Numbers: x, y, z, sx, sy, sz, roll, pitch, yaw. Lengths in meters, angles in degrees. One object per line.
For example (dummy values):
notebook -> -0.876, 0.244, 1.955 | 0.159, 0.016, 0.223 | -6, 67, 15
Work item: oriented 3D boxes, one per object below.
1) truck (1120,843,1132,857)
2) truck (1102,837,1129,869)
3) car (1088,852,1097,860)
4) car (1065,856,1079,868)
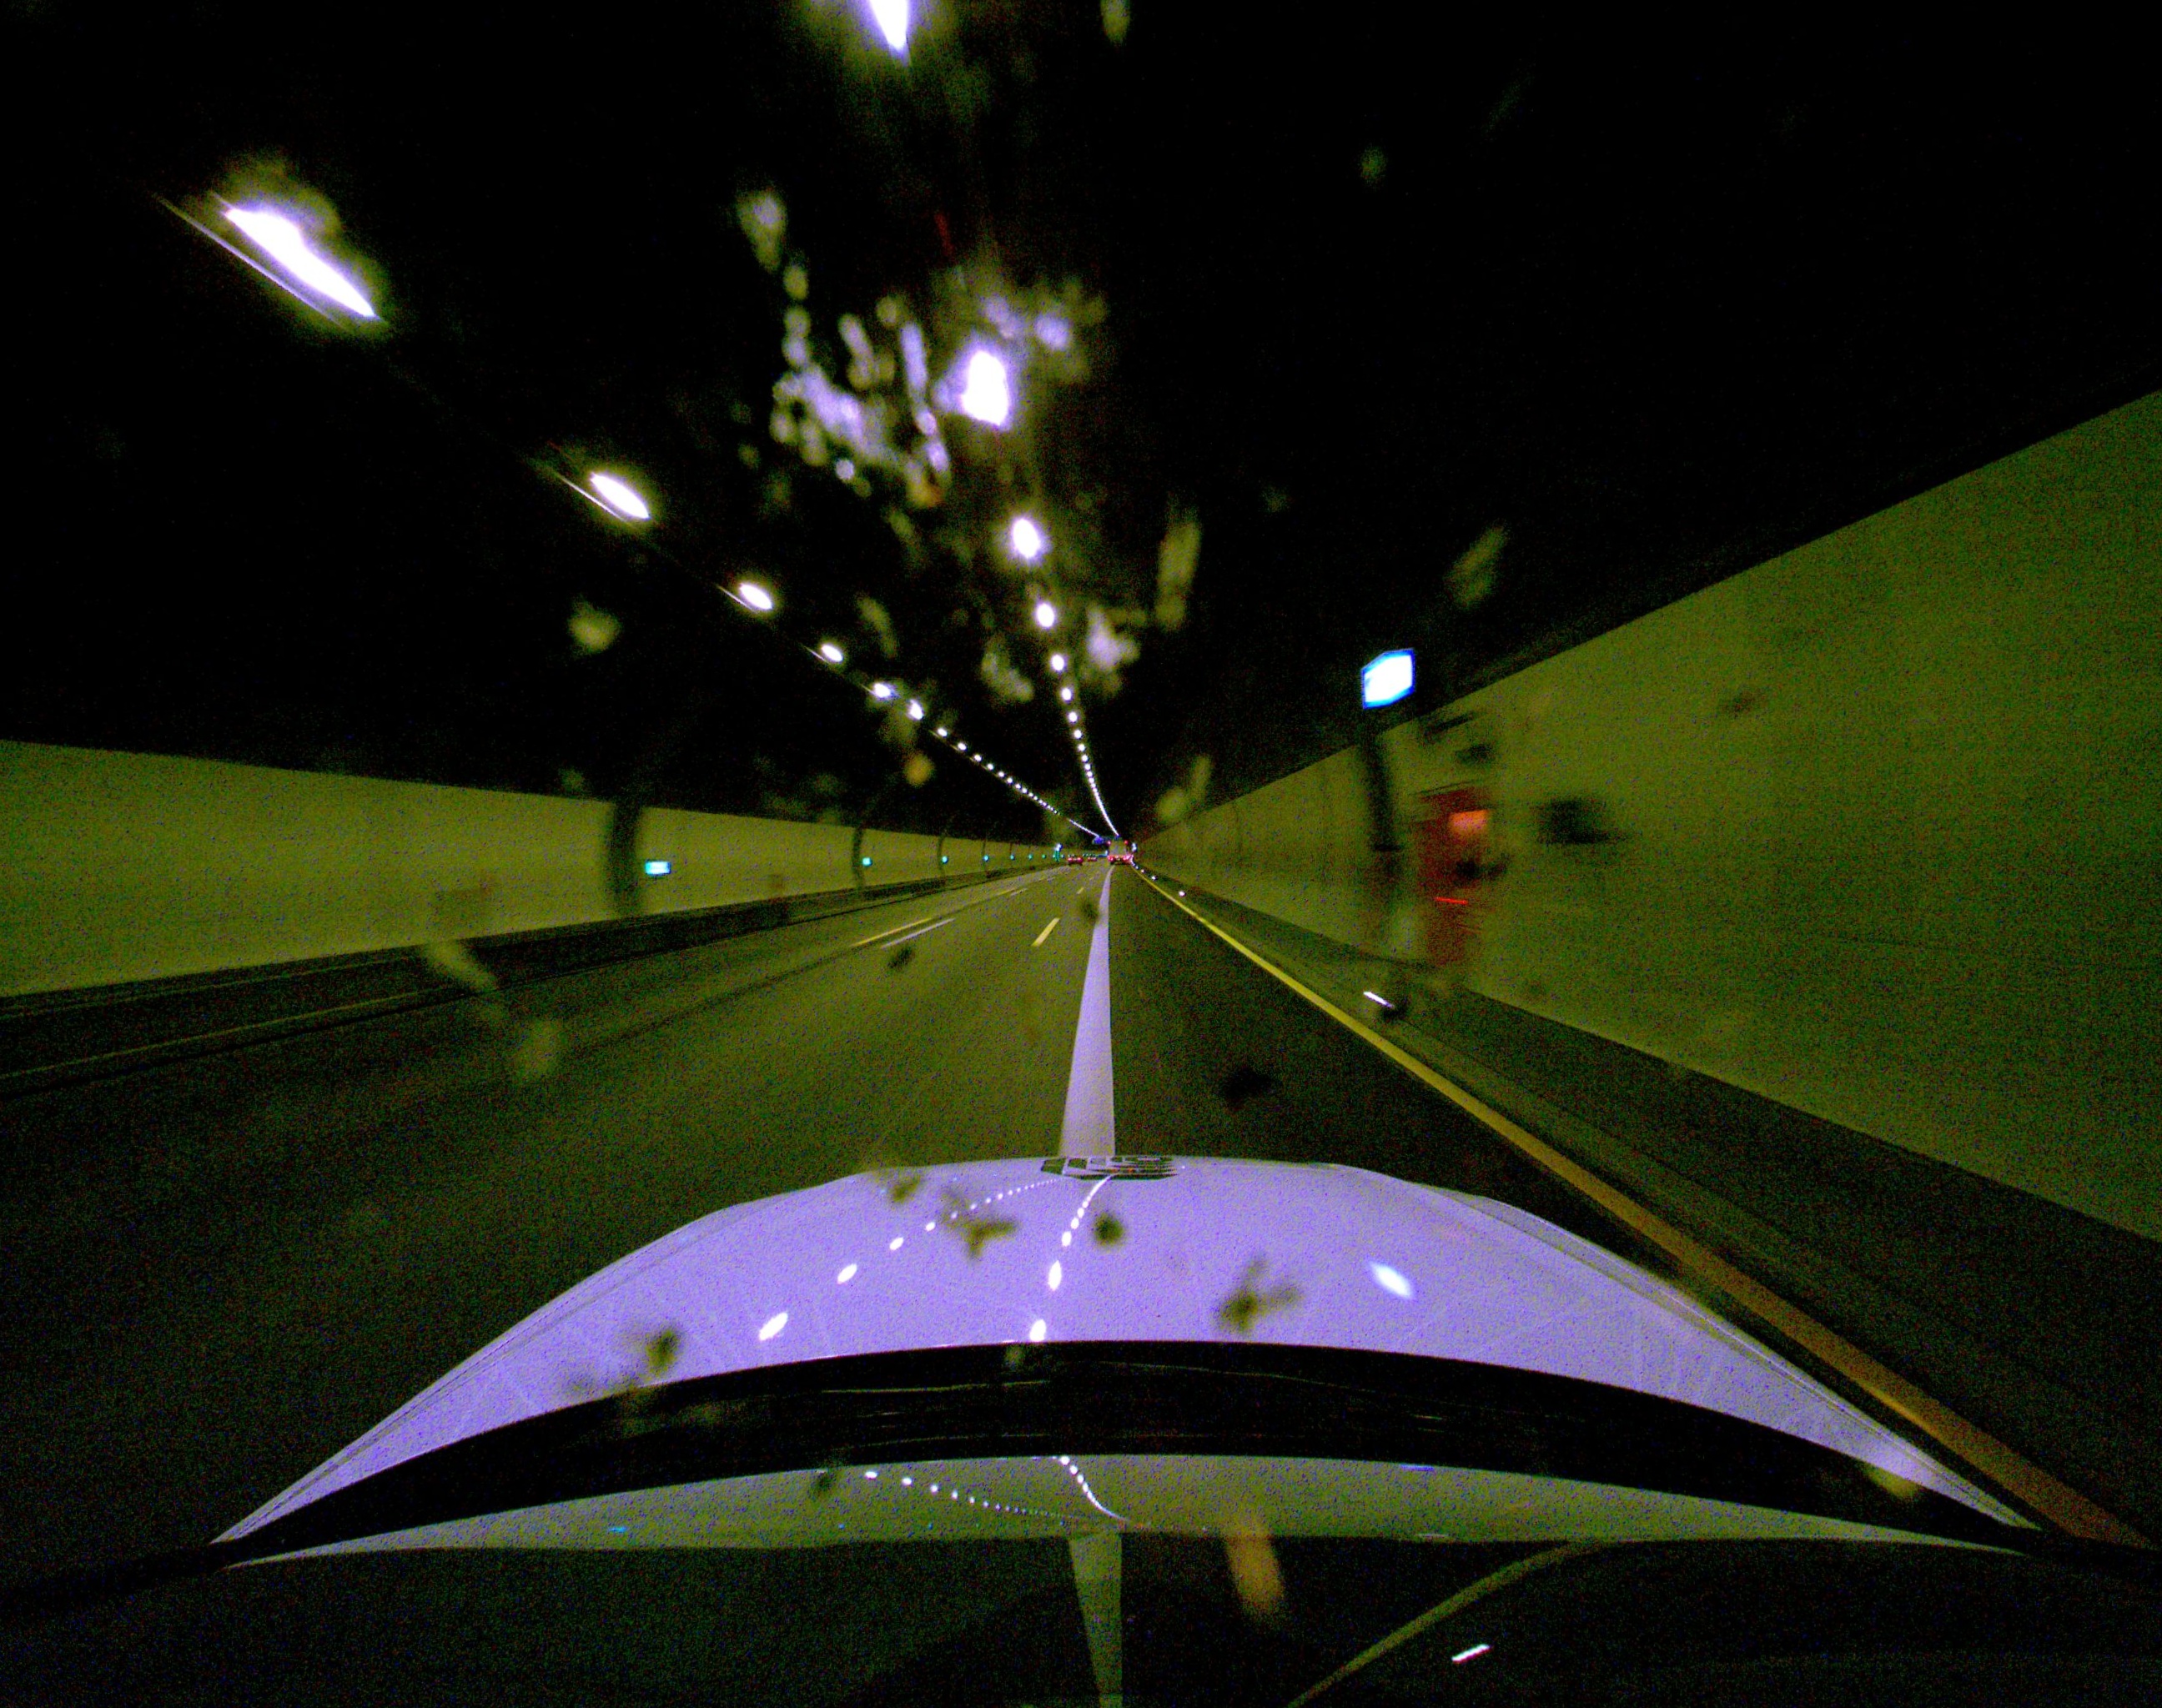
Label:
truck -> 13.719, -1.285, 248.750 | 2.911, 4.047, 14.035 | -3, 0, 2
truck -> 5.338, -0.148, 129.291 | 3.268, 4.650, 17.283 | -3, 0, 0
car -> 2.376, 0.322, 170.198 | 1.807, 1.520, 4.000 | -1, 2, 0
car -> -1.235, 1.135, 115.215 | 1.806, 1.618, 4.001 | -1, 0, 1
